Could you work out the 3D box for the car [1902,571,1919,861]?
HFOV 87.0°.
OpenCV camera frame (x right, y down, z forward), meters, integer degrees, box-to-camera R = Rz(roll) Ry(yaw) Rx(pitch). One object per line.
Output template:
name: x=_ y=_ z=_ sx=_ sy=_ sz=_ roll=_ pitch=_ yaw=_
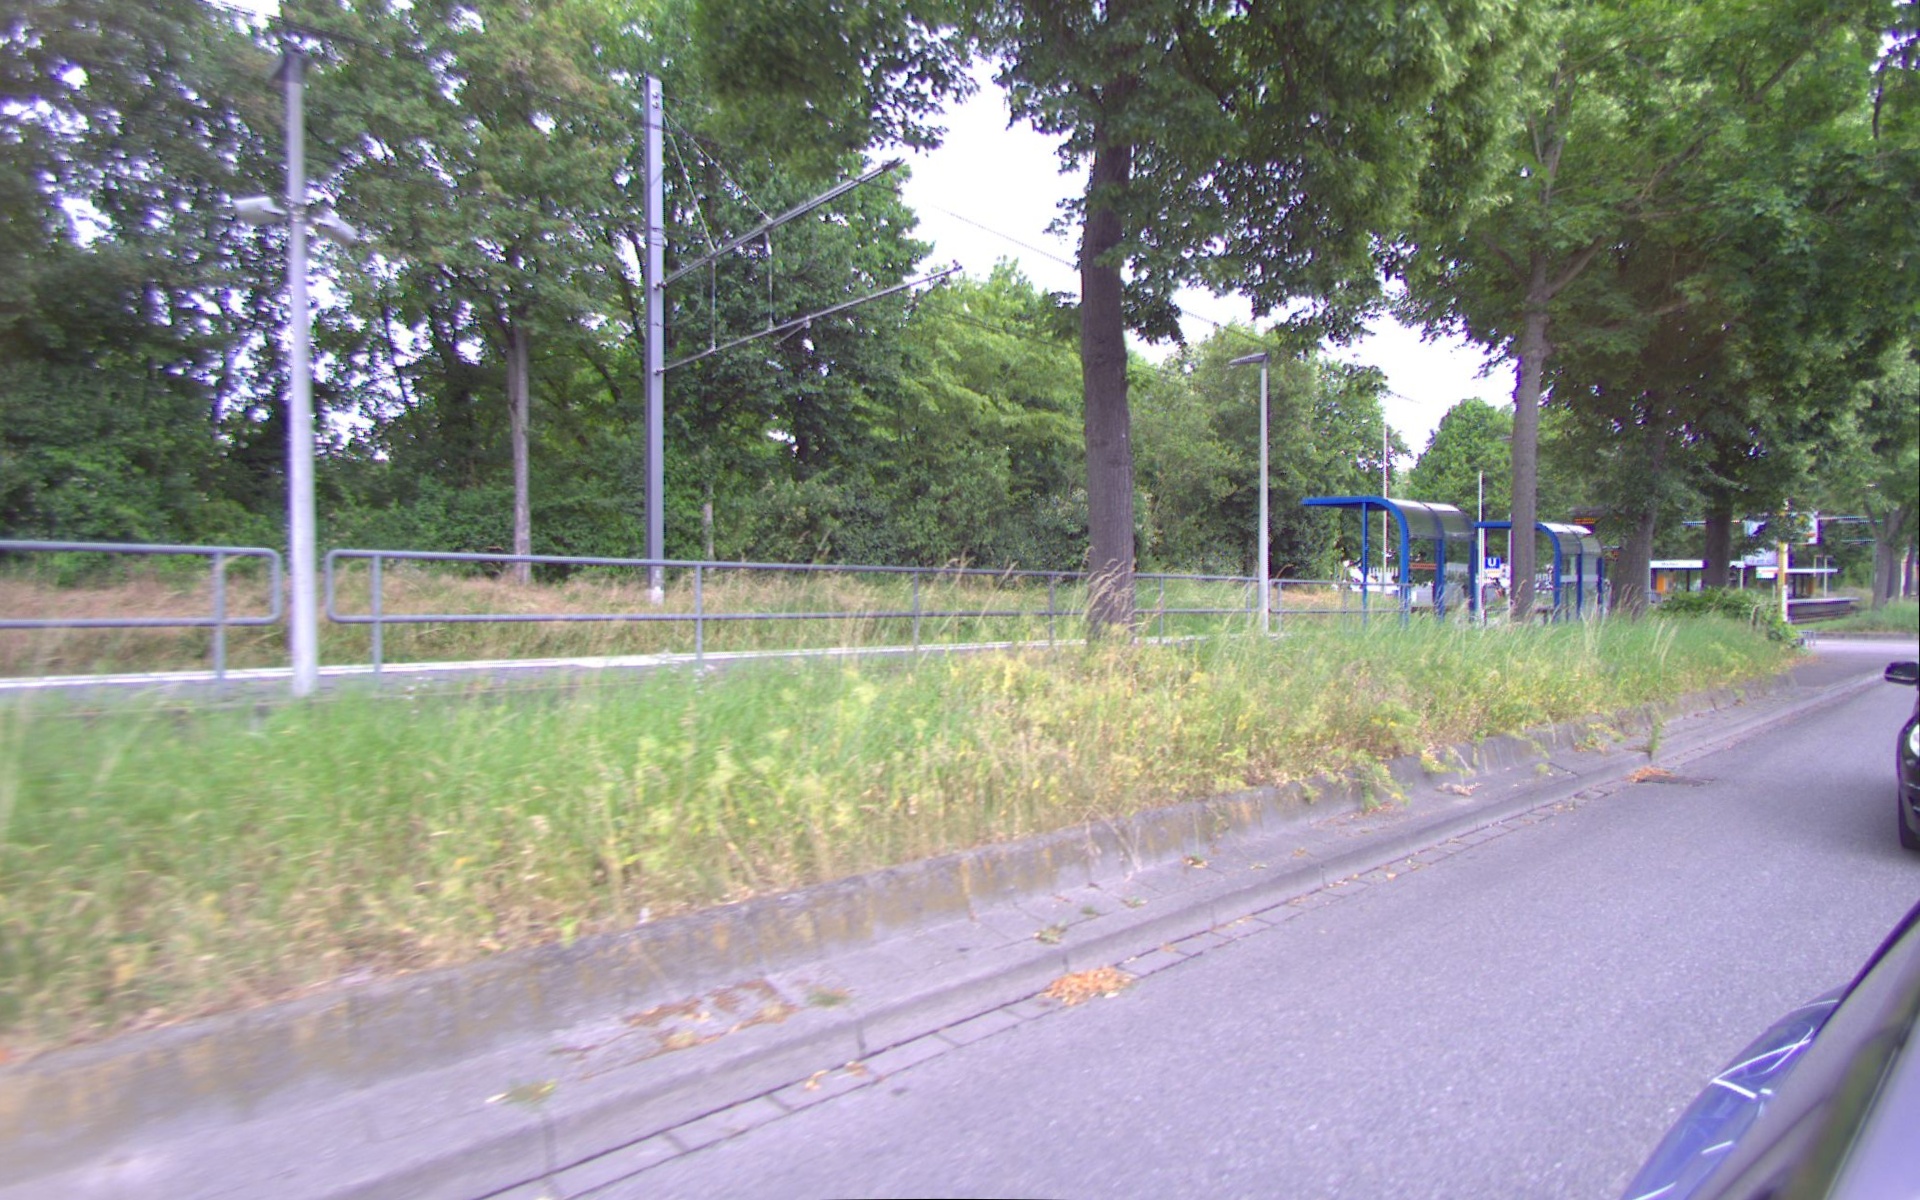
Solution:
car: x=7.413 y=0.621 z=6.455 sx=4.406 sy=1.594 sz=1.681 roll=0 pitch=0 yaw=-42
